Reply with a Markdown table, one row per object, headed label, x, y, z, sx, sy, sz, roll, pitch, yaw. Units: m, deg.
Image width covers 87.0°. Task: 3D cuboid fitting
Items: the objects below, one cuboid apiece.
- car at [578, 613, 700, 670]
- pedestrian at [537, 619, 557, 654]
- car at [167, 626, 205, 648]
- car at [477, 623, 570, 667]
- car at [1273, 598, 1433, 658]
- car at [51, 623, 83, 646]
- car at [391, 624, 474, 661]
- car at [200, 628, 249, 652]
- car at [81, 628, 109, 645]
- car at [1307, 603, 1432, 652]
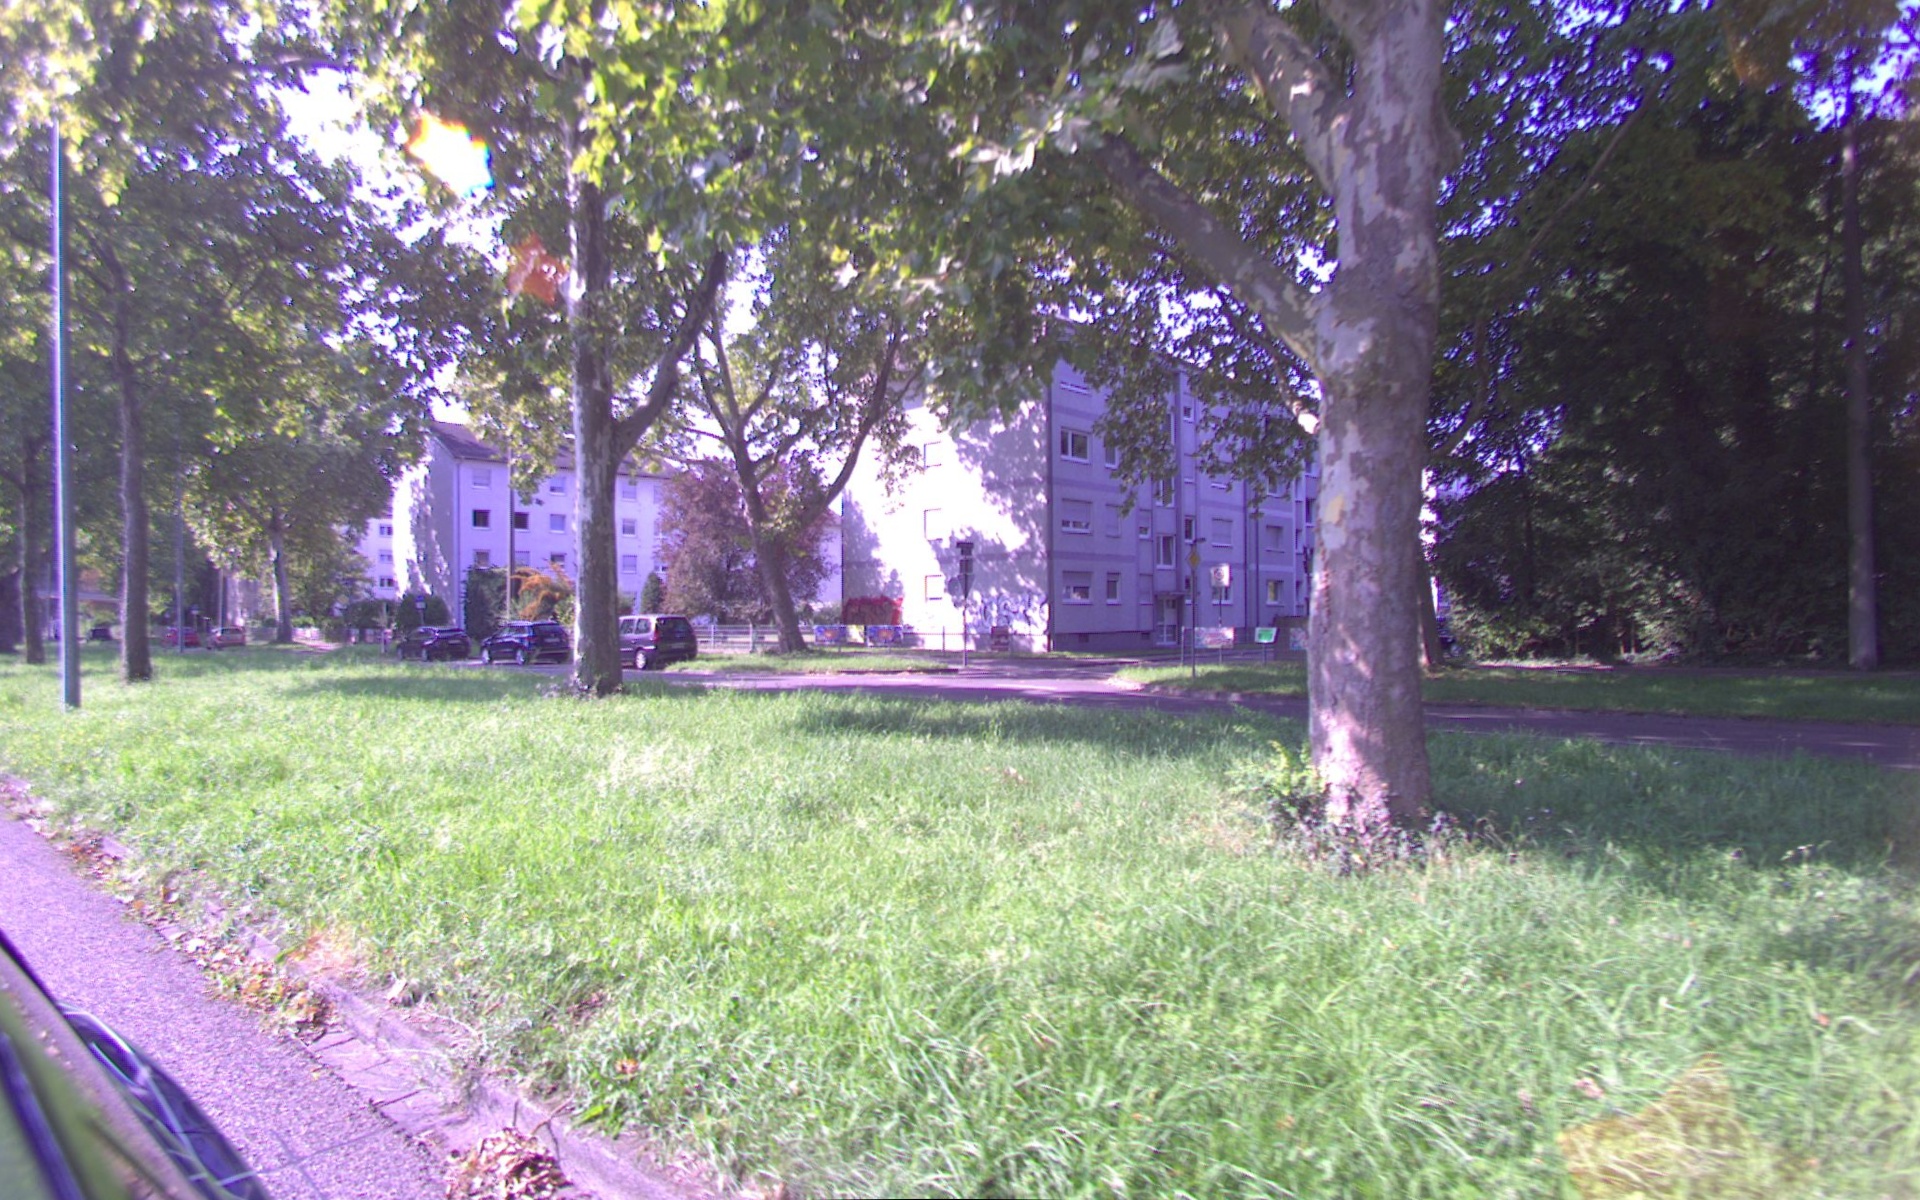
| label | x | y | z | sx | sy | sz | roll | pitch | yaw |
| --- | --- | --- | --- | --- | --- | --- | --- | --- | --- |
| car | -10.668 | 1.318 | 33.456 | 4.657 | 1.745 | 1.681 | -1 | -1 | 41 |
| pedestrian | -20.029 | 1.744 | 49.048 | 0.734 | 1.658 | 0.640 | -1 | -1 | 39 |
| car | -56.313 | 2.674 | 73.579 | 4.063 | 1.462 | 1.522 | -1 | -1 | 42 |
| car | -16.462 | 1.653 | 38.088 | 3.998 | 1.580 | 1.681 | -1 | -1 | 41 |
| car | 12.273 | 0.859 | 31.784 | 1.677 | 1.739 | 4.391 | 0 | -1 | -44 |
| car | -102.316 | 3.914 | 115.923 | 6.266 | 2.448 | 2.183 | -1 | 1 | 44 |
| car | -23.025 | 1.857 | 44.137 | 4.538 | 1.519 | 1.681 | -2 | -2 | 41 |
| car | -47.589 | 2.599 | 65.456 | 4.063 | 1.441 | 1.783 | -2 | -1 | 42 |
| car | -83.080 | 3.478 | 97.145 | 3.862 | 1.544 | 1.506 | -1 | -1 | 42 |
| car | 15.321 | 0.998 | 37.987 | 1.677 | 1.739 | 4.003 | 0 | -1 | -44 |
